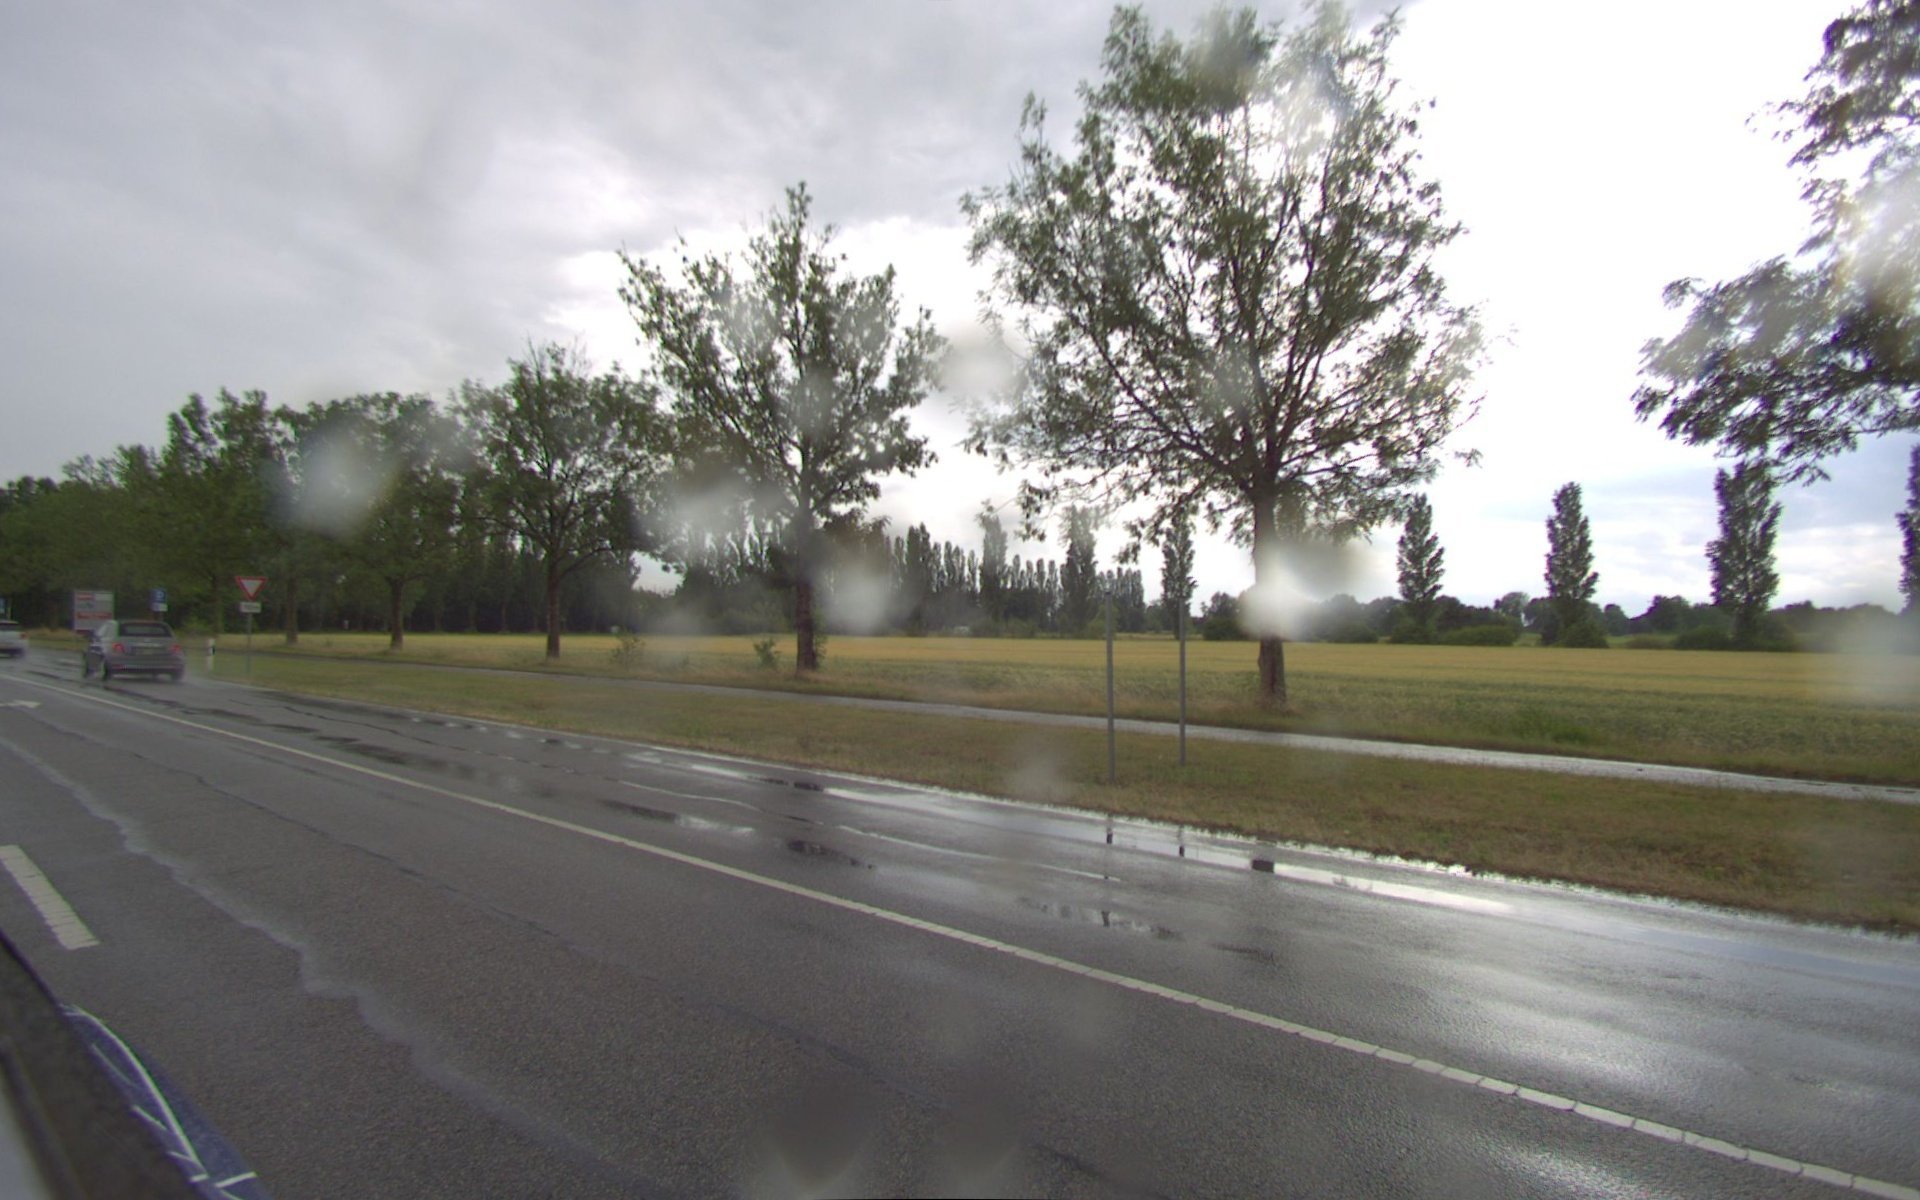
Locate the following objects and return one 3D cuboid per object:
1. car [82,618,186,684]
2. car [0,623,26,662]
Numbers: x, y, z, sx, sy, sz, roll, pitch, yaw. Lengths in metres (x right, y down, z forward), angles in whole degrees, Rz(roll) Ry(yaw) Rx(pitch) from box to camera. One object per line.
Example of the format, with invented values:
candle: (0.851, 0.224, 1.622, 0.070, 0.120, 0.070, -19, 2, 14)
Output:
car: (-20.801, 1.263, 25.452, 3.300, 1.541, 1.484, -1, -4, 42)
car: (-38.189, 1.648, 39.845, 3.460, 1.461, 1.651, -1, -4, 41)
